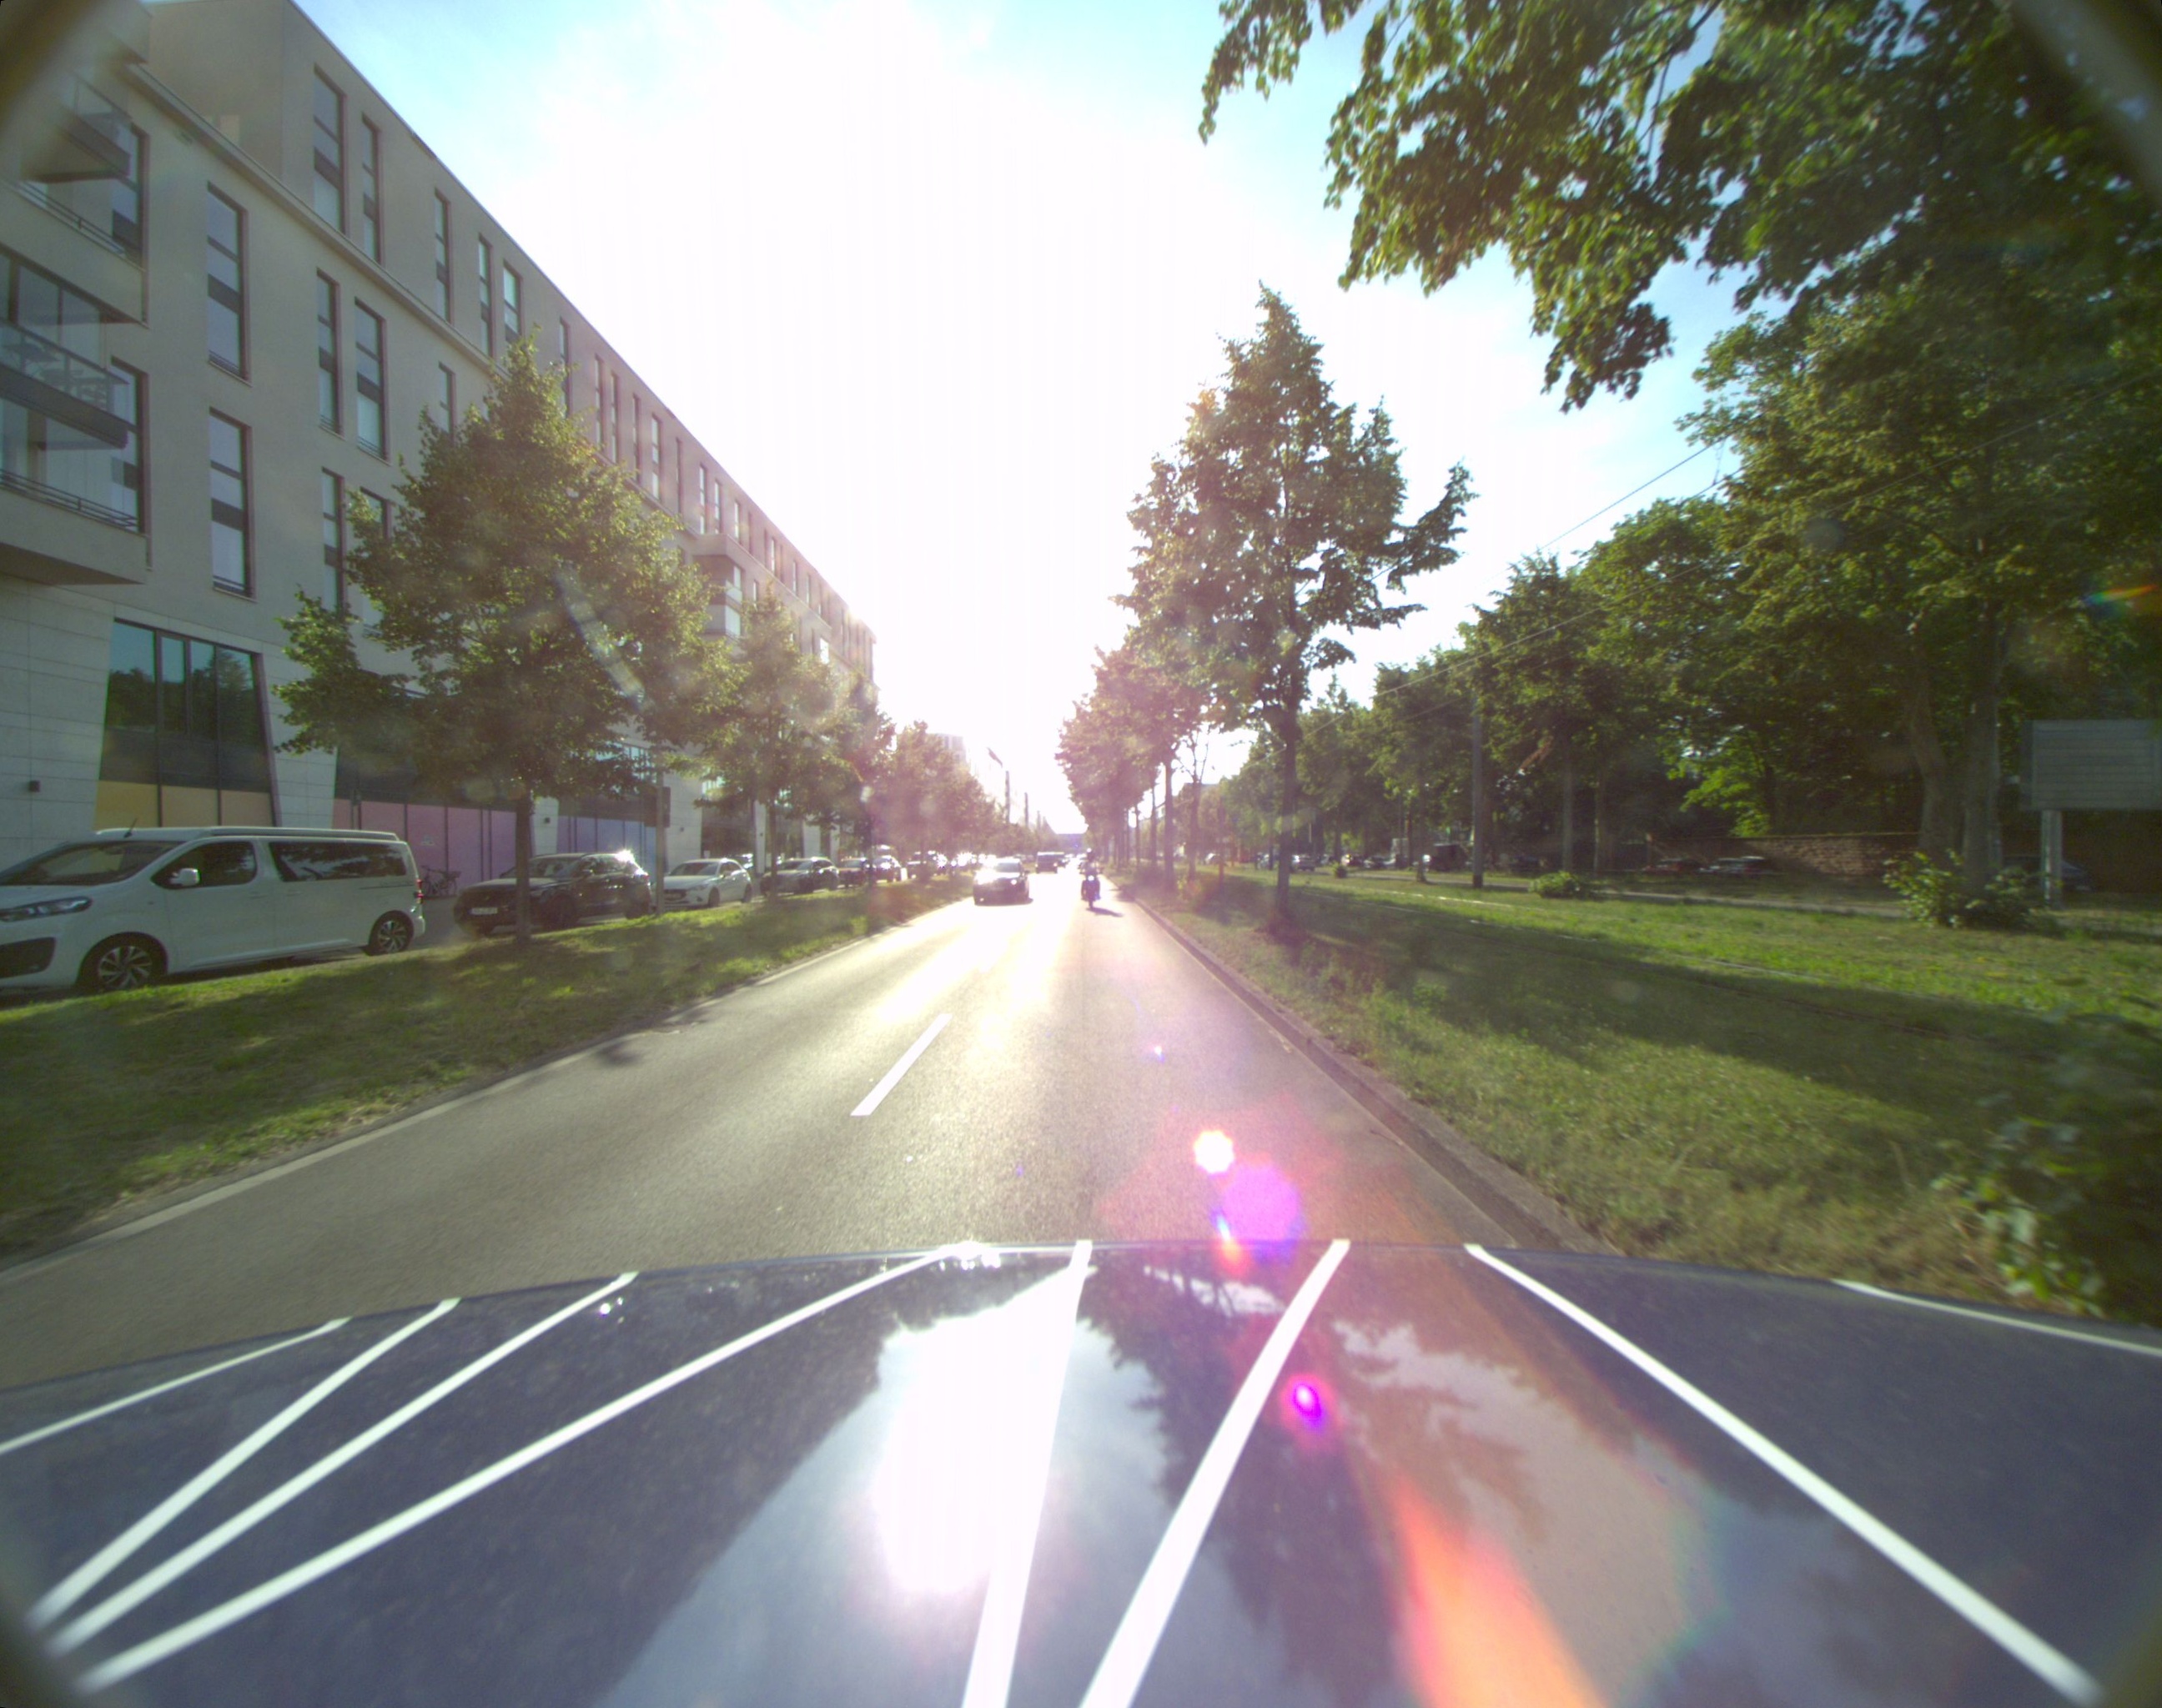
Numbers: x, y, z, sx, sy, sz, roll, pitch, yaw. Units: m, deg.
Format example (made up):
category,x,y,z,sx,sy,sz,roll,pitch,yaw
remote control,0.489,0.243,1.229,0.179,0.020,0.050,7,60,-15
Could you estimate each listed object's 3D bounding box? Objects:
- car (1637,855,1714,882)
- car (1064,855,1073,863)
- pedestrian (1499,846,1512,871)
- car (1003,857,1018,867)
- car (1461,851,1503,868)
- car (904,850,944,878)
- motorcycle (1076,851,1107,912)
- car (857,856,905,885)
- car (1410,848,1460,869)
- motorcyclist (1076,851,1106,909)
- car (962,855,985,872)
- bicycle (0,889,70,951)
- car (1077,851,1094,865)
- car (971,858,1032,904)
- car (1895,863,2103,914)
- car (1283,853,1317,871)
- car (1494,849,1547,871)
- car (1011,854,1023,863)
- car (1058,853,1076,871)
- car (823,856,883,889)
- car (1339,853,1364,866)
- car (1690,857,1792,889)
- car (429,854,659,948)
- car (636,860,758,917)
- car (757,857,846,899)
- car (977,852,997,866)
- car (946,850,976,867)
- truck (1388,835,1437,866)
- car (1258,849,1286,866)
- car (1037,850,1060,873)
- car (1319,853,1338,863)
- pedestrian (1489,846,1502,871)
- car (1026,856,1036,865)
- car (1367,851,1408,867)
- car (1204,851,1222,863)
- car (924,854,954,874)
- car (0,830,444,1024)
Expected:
category,x,y,z,sx,sy,sz,roll,pitch,yaw
car,35.912,0.861,46.016,1.722,1.434,3.912,-2,1,2
car,-2.635,1.052,161.533,1.840,1.521,4.327,-2,1,0
pedestrian,25.110,0.246,44.948,0.387,1.467,0.602,-2,1,0
car,-11.025,1.227,118.450,1.840,1.521,4.327,-2,1,0
car,36.193,0.450,68.654,1.701,1.367,4.386,-2,1,4
car,-11.469,0.673,55.915,1.899,1.863,4.843,-2,1,0
motorcycle,0.293,0.771,22.842,0.798,1.659,2.633,-2,1,-1
car,-11.586,0.893,44.292,1.873,1.483,4.412,-2,1,-4
car,27.614,0.329,59.469,1.835,1.423,4.474,-2,1,1
motorcyclist,0.292,0.768,22.872,0.814,1.700,0.843,-2,1,-1
car,-11.198,0.976,79.291,1.764,1.588,4.327,-2,1,0
bicycle,-18.495,1.146,12.708,0.419,0.995,2.043,3,1,1
car,0.519,0.454,87.952,1.756,1.427,4.034,-2,1,-3
car,-2.788,0.904,27.381,1.698,1.416,4.038,-2,1,0
car,30.084,1.073,25.089,1.688,1.427,4.030,-3,1,-14
car,20.229,0.709,70.356,1.686,1.467,4.812,2,1,0
car,36.486,0.469,63.148,1.835,1.603,4.474,-2,1,1
car,-11.439,0.784,136.306,1.840,1.521,4.327,-2,1,0
car,-1.668,0.975,92.017,1.909,2.002,3.999,-2,1,0
car,-11.412,0.884,38.304,1.733,1.424,4.113,-2,1,-1
car,28.969,0.551,81.394,1.586,1.269,3.961,-2,1,6
car,35.258,0.976,40.769,1.790,1.434,4.361,-2,1,2
car,-11.244,0.875,16.380,1.732,1.641,4.339,-2,1,1
car,-11.243,0.935,22.587,1.620,1.404,4.166,-2,1,-2
car,-11.303,0.914,31.092,1.732,1.424,4.721,-2,1,1
car,-11.097,0.602,89.881,1.840,1.521,4.327,-2,1,0
car,-11.494,0.428,72.859,1.764,1.479,4.919,-2,1,3
truck,39.832,-0.480,91.647,2.895,3.496,7.946,-2,1,5
car,17.168,0.296,68.360,1.587,1.385,3.696,-2,1,0
car,-2.900,0.632,68.816,1.803,1.880,4.820,-2,1,0
car,29.968,0.525,92.061,1.301,1.101,3.772,-2,1,3
pedestrian,24.513,0.256,44.928,0.387,1.467,0.602,-2,1,0
car,-10.777,1.332,164.037,1.740,1.777,3.893,-2,1,0
car,26.986,0.436,66.995,1.680,1.236,4.900,-2,1,1
car,17.494,0.366,101.124,1.614,1.523,4.132,-2,1,0
car,-11.602,0.797,62.238,1.765,1.479,4.209,-2,1,-2
car,-11.338,0.713,9.817,1.842,1.865,5.031,-2,1,1
